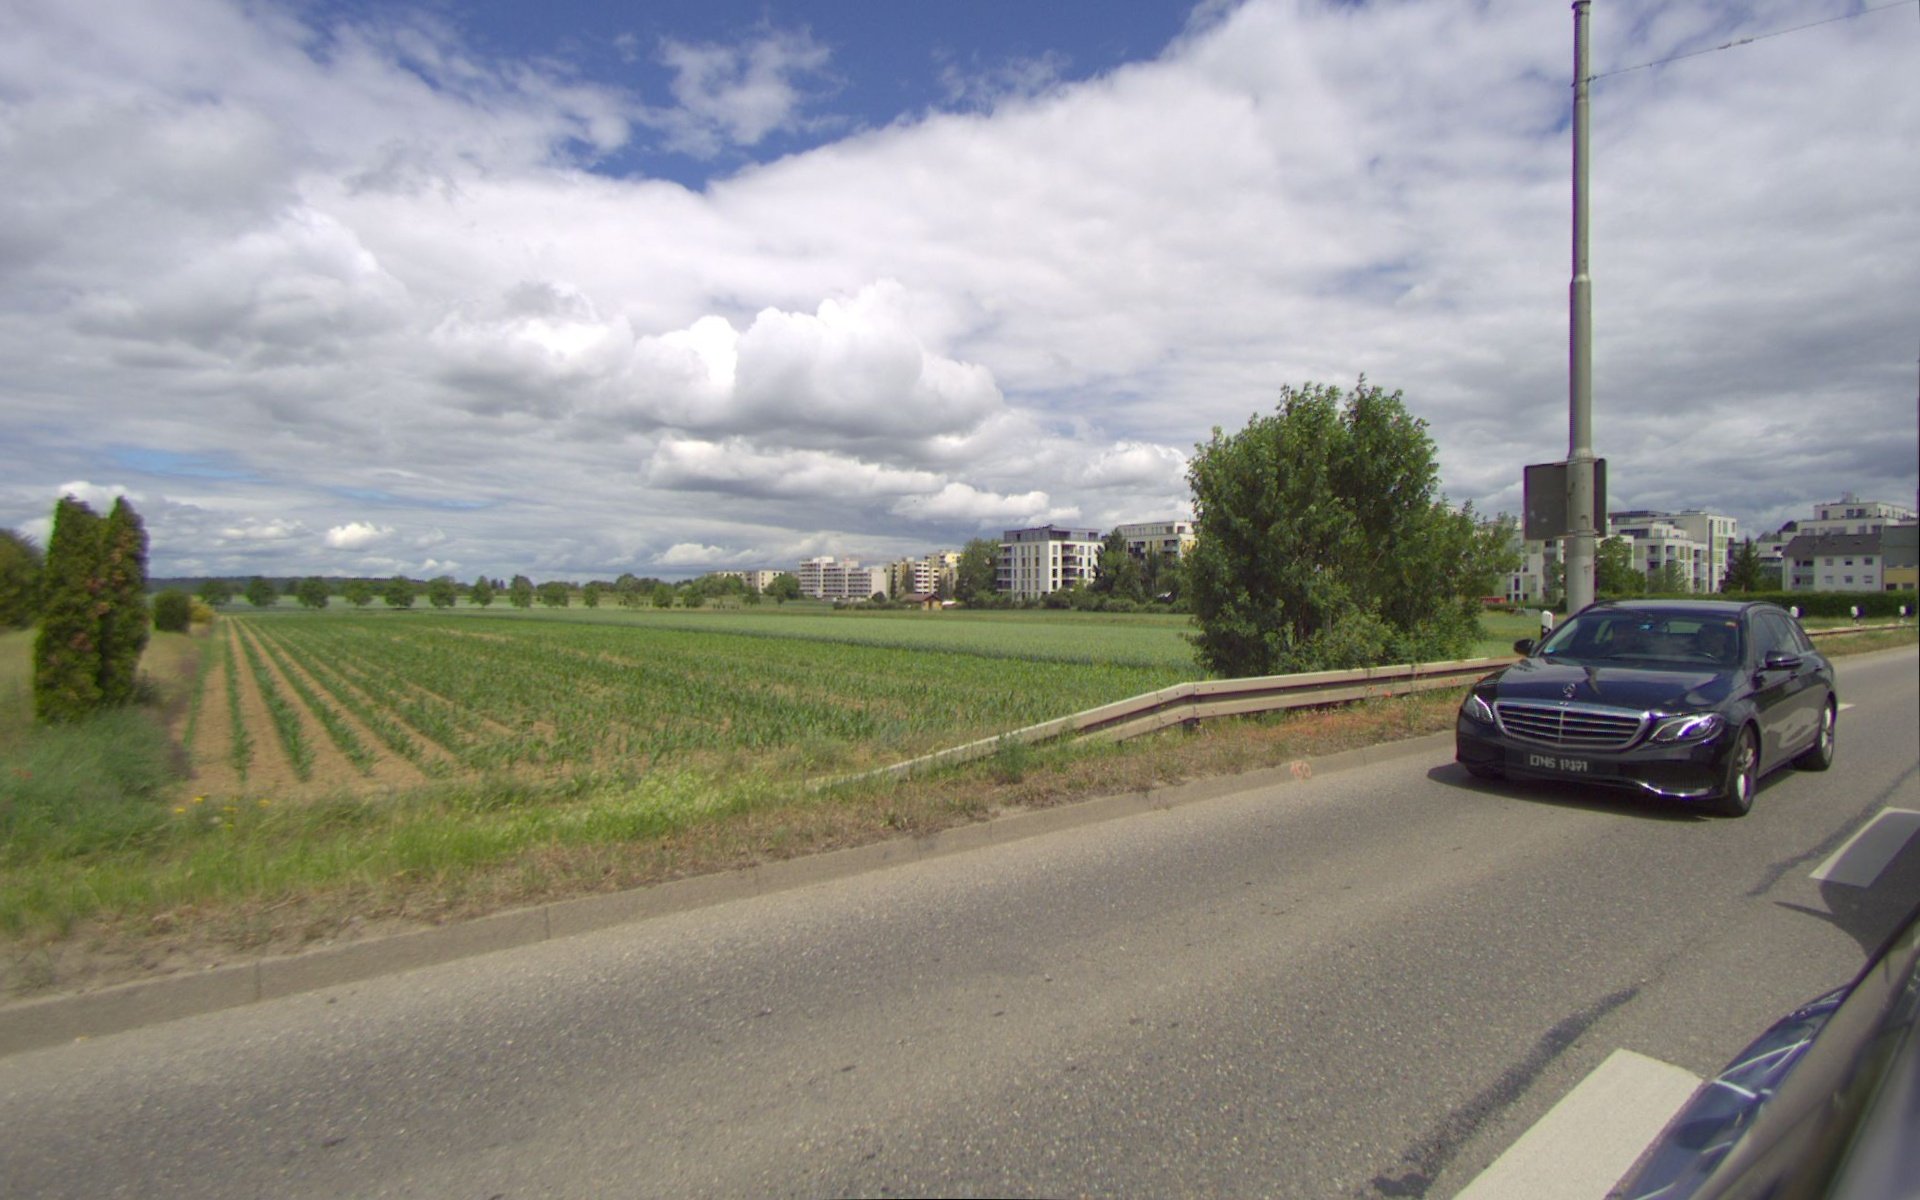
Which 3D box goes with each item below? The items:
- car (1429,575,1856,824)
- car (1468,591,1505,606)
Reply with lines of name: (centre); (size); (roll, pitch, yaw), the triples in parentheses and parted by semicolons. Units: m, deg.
car: (5.987, 0.679, 8.609); (4.720, 1.557, 1.841); (2, -1, -41)
car: (76.952, -0.198, 147.867); (1.964, 2.039, 4.436); (-1, 1, -39)
